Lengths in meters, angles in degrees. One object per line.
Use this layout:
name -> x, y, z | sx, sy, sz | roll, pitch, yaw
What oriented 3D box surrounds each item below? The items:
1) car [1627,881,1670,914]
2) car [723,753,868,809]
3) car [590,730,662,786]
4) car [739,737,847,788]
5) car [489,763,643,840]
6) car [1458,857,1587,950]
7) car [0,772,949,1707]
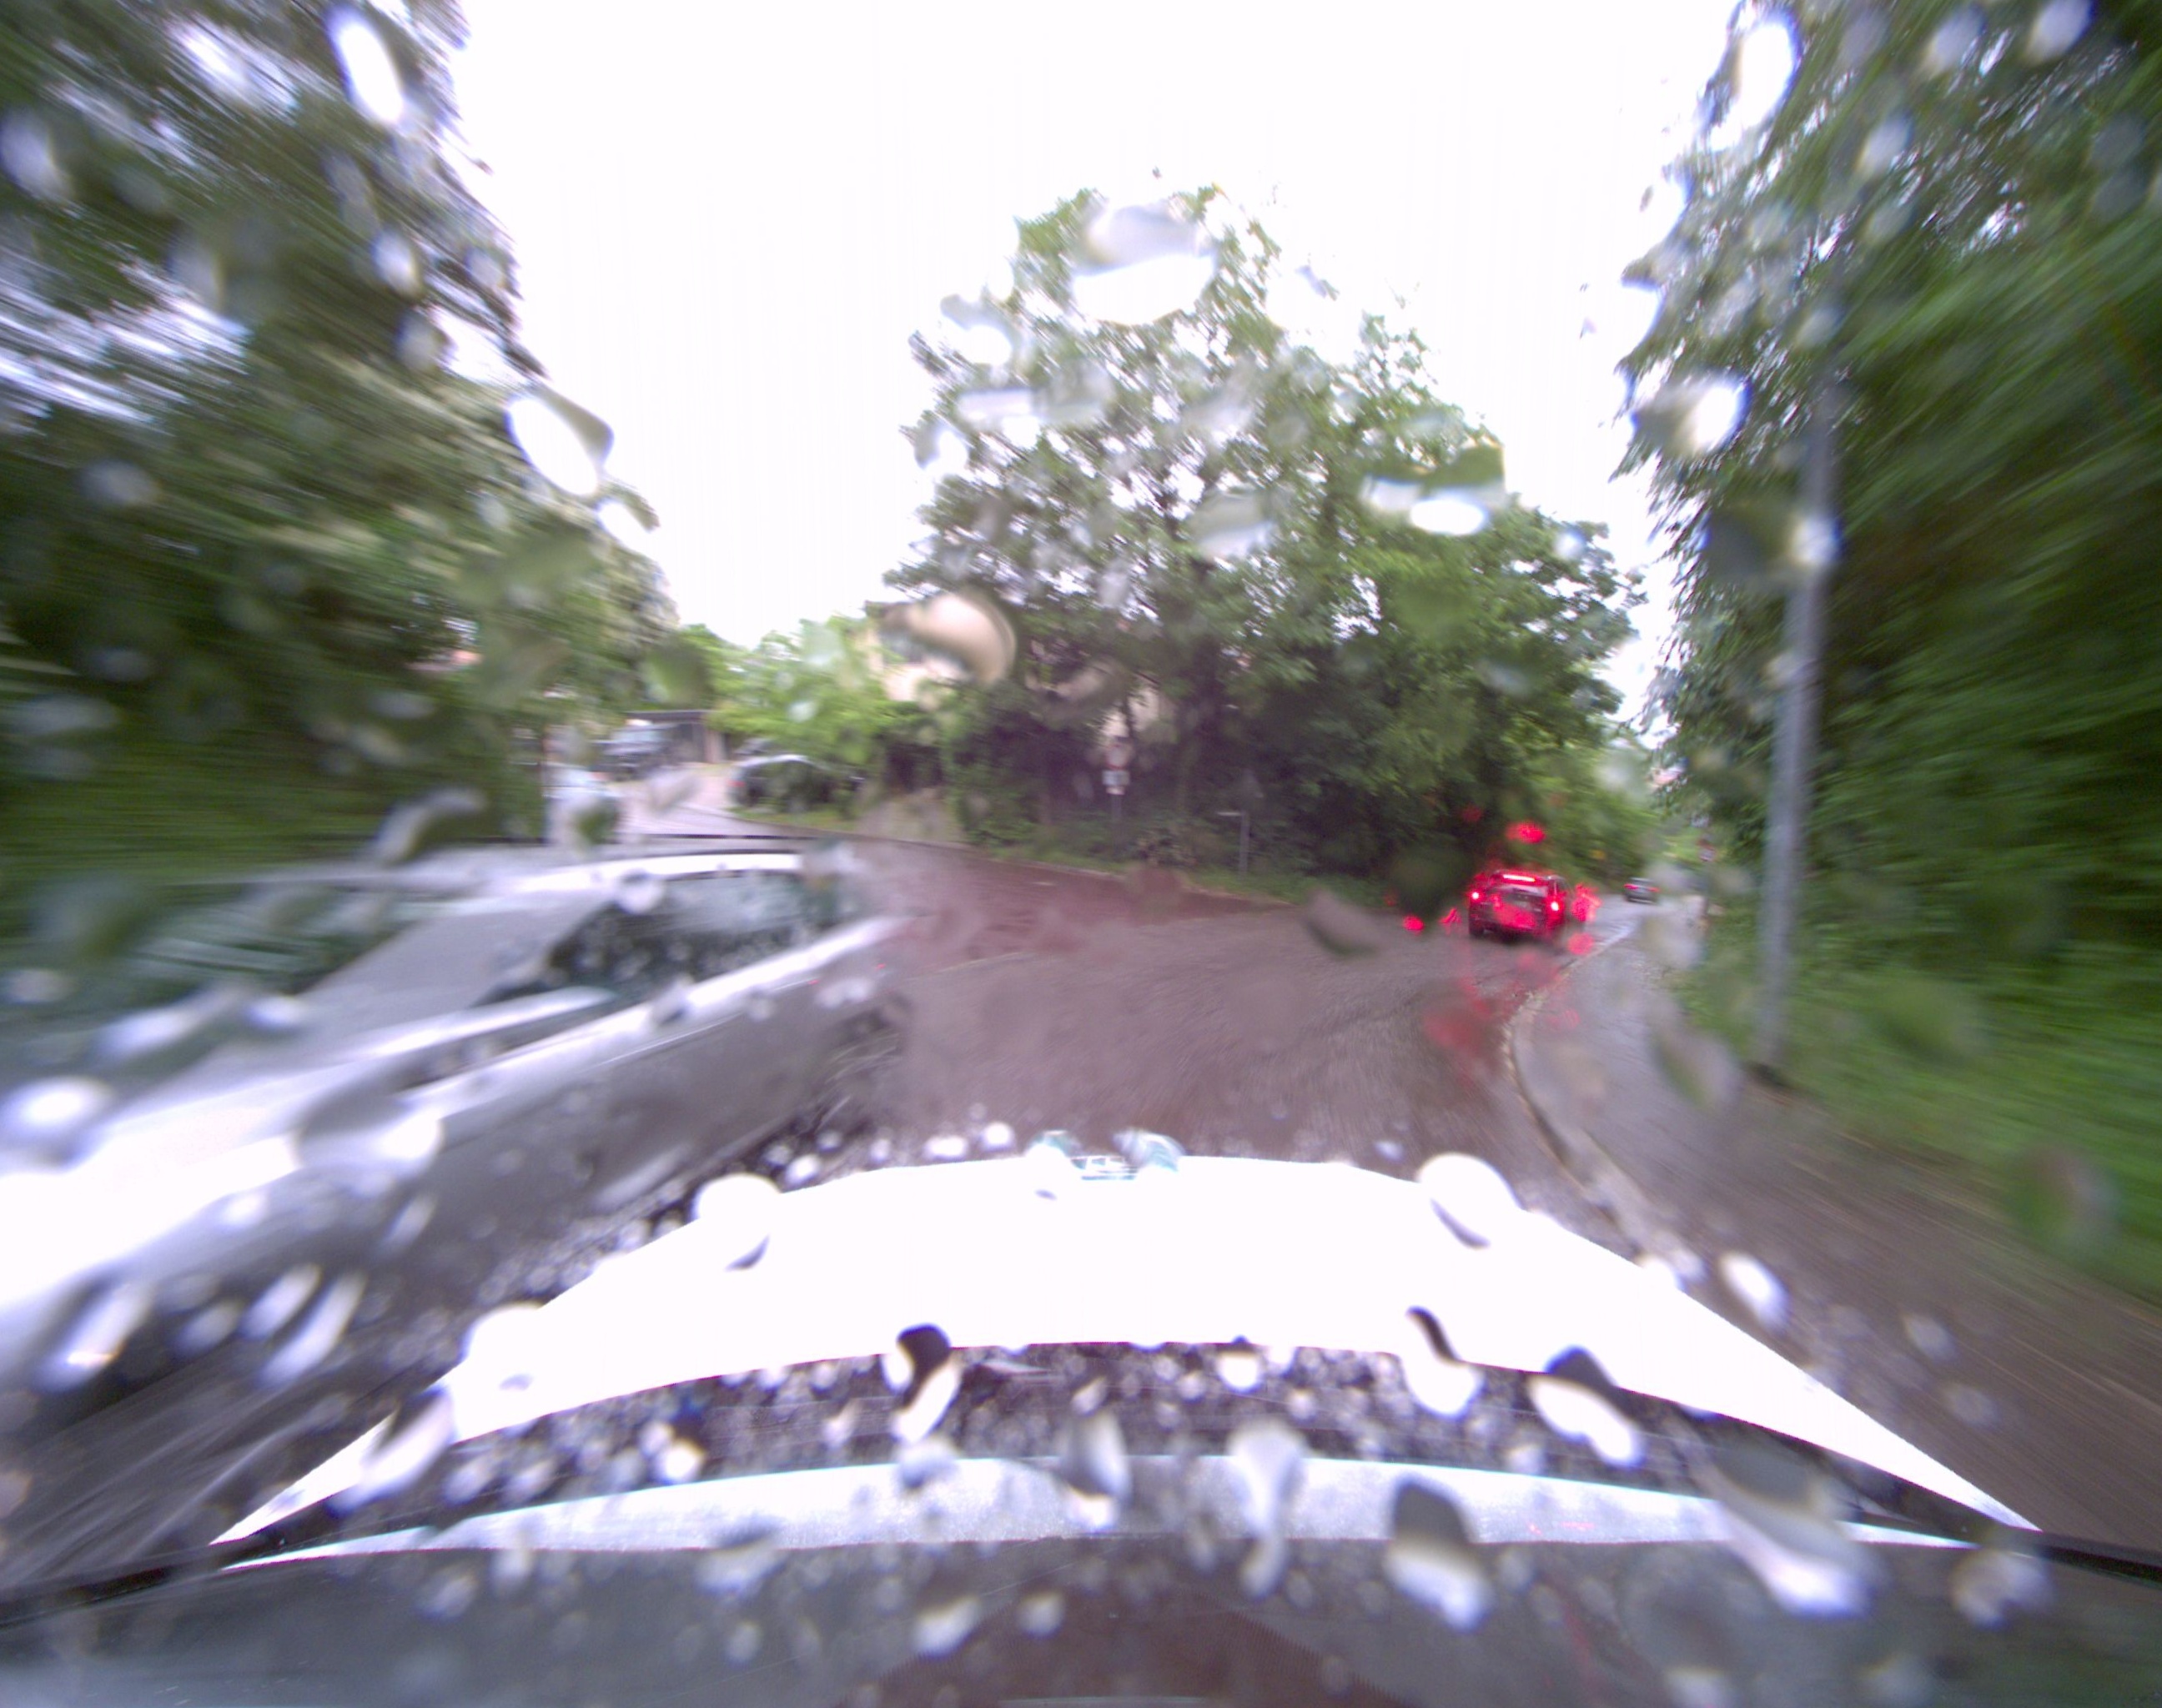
car -> 36.141, 2.737, 51.809 | 1.846, 1.742, 4.025 | 9, 3, 38
car -> -8.639, -2.281, 24.995 | 3.994, 1.415, 1.693 | -3, 12, -15
car -> -17.773, -3.842, 32.019 | 1.896, 1.613, 3.975 | -9, 16, -22
car -> -10.366, -3.345, 29.571 | 3.400, 1.572, 1.590 | -2, 16, -12
car -> -12.432, -1.355, 19.606 | 3.951, 1.460, 1.851 | 9, 11, 38
car -> 9.421, 0.931, 17.213 | 1.684, 1.449, 4.026 | 6, 5, 37
car -> -2.135, 0.576, 2.984 | 1.660, 1.537, 4.137 | 4, 2, 14
